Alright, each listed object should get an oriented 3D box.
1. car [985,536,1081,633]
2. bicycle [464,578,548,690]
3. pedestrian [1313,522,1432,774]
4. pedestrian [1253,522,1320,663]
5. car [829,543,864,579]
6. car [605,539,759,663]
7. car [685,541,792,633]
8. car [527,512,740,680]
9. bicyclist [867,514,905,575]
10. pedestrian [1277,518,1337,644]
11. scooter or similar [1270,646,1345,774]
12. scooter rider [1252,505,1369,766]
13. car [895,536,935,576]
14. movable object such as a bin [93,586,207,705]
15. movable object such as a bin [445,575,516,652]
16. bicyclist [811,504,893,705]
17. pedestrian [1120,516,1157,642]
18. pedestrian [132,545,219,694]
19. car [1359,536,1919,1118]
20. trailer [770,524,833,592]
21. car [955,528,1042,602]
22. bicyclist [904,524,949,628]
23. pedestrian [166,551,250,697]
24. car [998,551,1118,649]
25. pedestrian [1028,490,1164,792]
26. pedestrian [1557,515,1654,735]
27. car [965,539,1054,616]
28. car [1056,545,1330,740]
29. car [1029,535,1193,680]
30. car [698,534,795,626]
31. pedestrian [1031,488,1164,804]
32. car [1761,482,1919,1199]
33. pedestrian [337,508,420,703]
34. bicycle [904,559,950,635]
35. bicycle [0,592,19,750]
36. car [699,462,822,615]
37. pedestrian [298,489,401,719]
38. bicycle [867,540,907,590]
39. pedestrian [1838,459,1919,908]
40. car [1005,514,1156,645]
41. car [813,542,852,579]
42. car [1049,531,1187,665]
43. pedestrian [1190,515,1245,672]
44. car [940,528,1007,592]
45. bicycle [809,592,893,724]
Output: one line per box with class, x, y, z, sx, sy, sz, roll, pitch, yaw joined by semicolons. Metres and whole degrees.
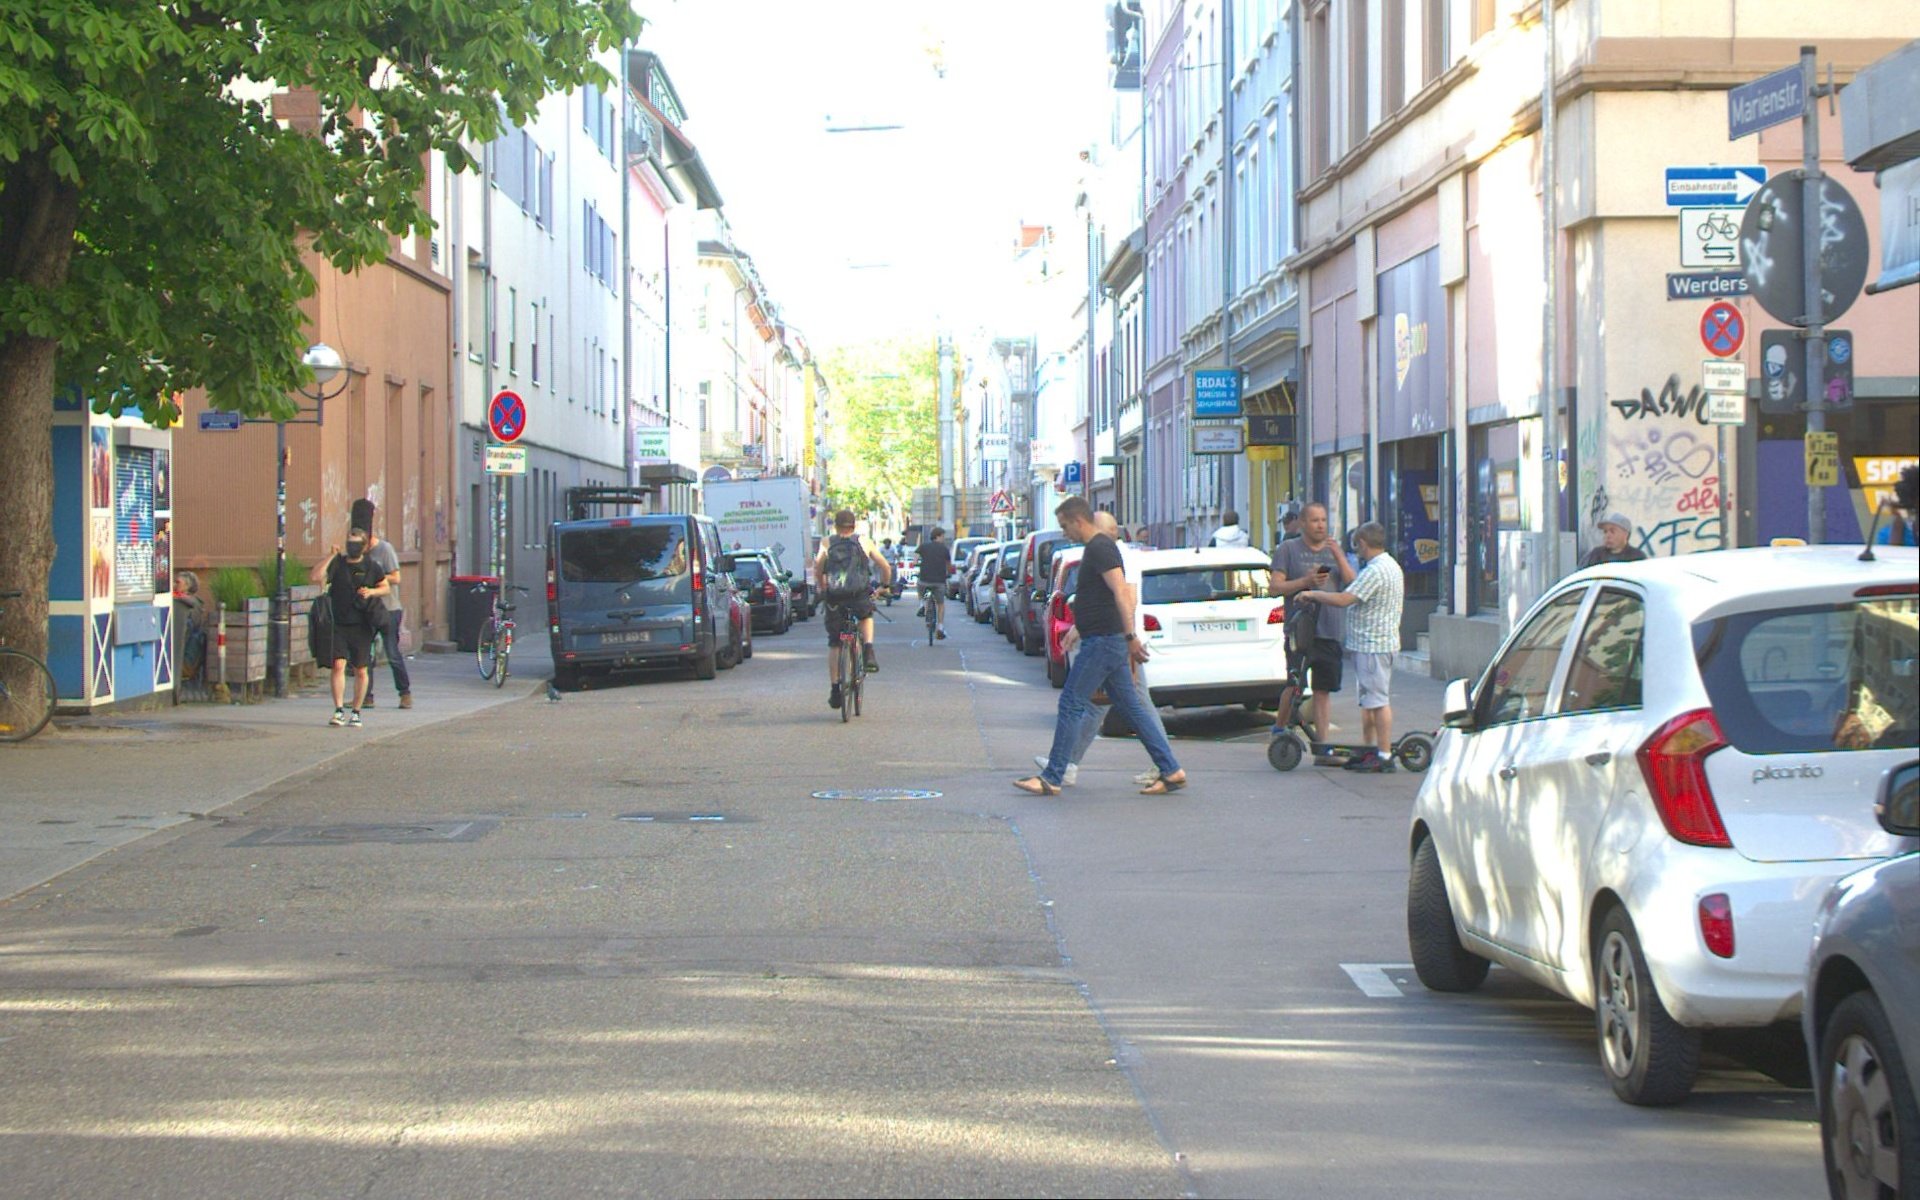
car;1.311;-0.284;62.875;1.556;1.706;3.559;1;0;-2
bicycle;-5.078;0.364;38.385;0.550;1.212;1.989;1;0;-18
pedestrian;2.720;0.309;22.685;0.528;1.633;0.564;1;0;43
pedestrian;4.062;-0.091;42.788;0.628;1.734;0.659;1;0;-14
car;-5.922;-2.032;179.695;1.750;1.815;3.796;-1;0;-1
car;-3.746;0.002;46.850;1.750;1.517;3.869;-3;0;-1
car;-4.017;-0.271;62.863;1.716;1.473;4.499;-3;2;-2
car;-3.848;-0.106;41.411;2.020;1.873;5.297;1;1;0
bicyclist;-2.017;-1.513;93.878;0.950;1.622;0.953;-2;1;0
pedestrian;4.239;-0.232;42.010;0.587;1.524;0.659;1;0;-6
scooter or similar;2.361;0.740;23.393;0.393;0.825;0.926;1;0;-1
scooter rider;2.417;0.237;23.688;0.564;1.772;0.610;1;0;34
car;-1.830;-1.788;139.174;1.611;1.555;3.610;0;1;-1
movable object such as a bin;-7.565;0.421;32.134;0.870;1.083;0.774;1;0;0
movable object such as a bin;-6.738;0.185;48.325;0.759;1.063;0.651;1;0;19
bicyclist;-0.913;0.032;29.214;0.667;1.671;1.097;1;0;-2
pedestrian;2.430;-0.283;46.733;0.441;1.698;0.655;1;0;-1
pedestrian;-7.681;0.190;33.678;0.705;1.440;0.617;1;0;-2
car;2.396;0.563;10.488;1.689;1.458;3.641;1;0;-4
trailer;-5.002;-1.331;108.960;1.882;2.085;3.737;-1;0;-1
car;0.888;-0.858;82.054;1.918;1.700;4.366;0;1;-1
bicyclist;-0.513;-0.363;52.429;0.671;1.562;0.716;1;0;-1
pedestrian;-7.522;0.232;34.393;0.705;1.440;0.617;1;0;-2
car;1.532;-0.013;54.795;1.552;1.506;3.612;1;0;-4
pedestrian;0.838;0.247;21.299;0.761;1.829;0.688;1;0;-3
pedestrian;4.929;0.182;26.246;0.600;1.644;0.464;1;3;30
car;1.041;-0.477;73.704;1.686;1.538;4.046;-2;0;-2
car;1.888;0.318;29.031;1.786;1.511;4.137;1;0;-3
car;1.678;0.070;39.178;1.606;1.567;3.554;1;0;-1
car;-4.220;-0.421;68.426;1.716;1.644;4.246;-3;2;-2
pedestrian;0.805;0.254;20.331;0.693;1.819;1.003;0;1;-3
car;2.706;0.614;5.591;1.700;1.644;4.064;1;0;-2
pedestrian;-5.567;0.050;32.944;0.646;1.827;0.697;2;0;-1
bicycle;-0.510;-0.050;52.519;0.648;1.125;2.136;1;0;-1
bicycle;-6.783;0.506;23.496;0.292;1.078;1.579;1;2;-1
car;-4.544;-1.386;79.287;2.343;3.280;7.154;-2;0;0
pedestrian;-5.039;0.027;28.416;0.716;1.867;0.720;1;0;-1
bicycle;-1.992;-0.976;94.137;0.977;1.310;2.555;-2;1;0
pedestrian;4.129;0.351;14.742;0.561;1.887;0.530;1;0;-1
car;1.684;-0.294;49.506;1.899;1.787;4.315;1;0;-1
car;-6.020;-1.849;162.208;1.750;1.678;3.796;-1;0;-1
car;1.981;-0.036;43.816;1.570;1.551;3.314;-3;0;1
pedestrian;2.858;-0.073;38.217;0.561;1.734;0.428;1;0;1
car;0.394;-1.212;105.541;1.750;1.872;3.973;-1;0;-3
bicycle;-0.918;0.476;29.208;0.677;1.071;1.942;1;0;-2
